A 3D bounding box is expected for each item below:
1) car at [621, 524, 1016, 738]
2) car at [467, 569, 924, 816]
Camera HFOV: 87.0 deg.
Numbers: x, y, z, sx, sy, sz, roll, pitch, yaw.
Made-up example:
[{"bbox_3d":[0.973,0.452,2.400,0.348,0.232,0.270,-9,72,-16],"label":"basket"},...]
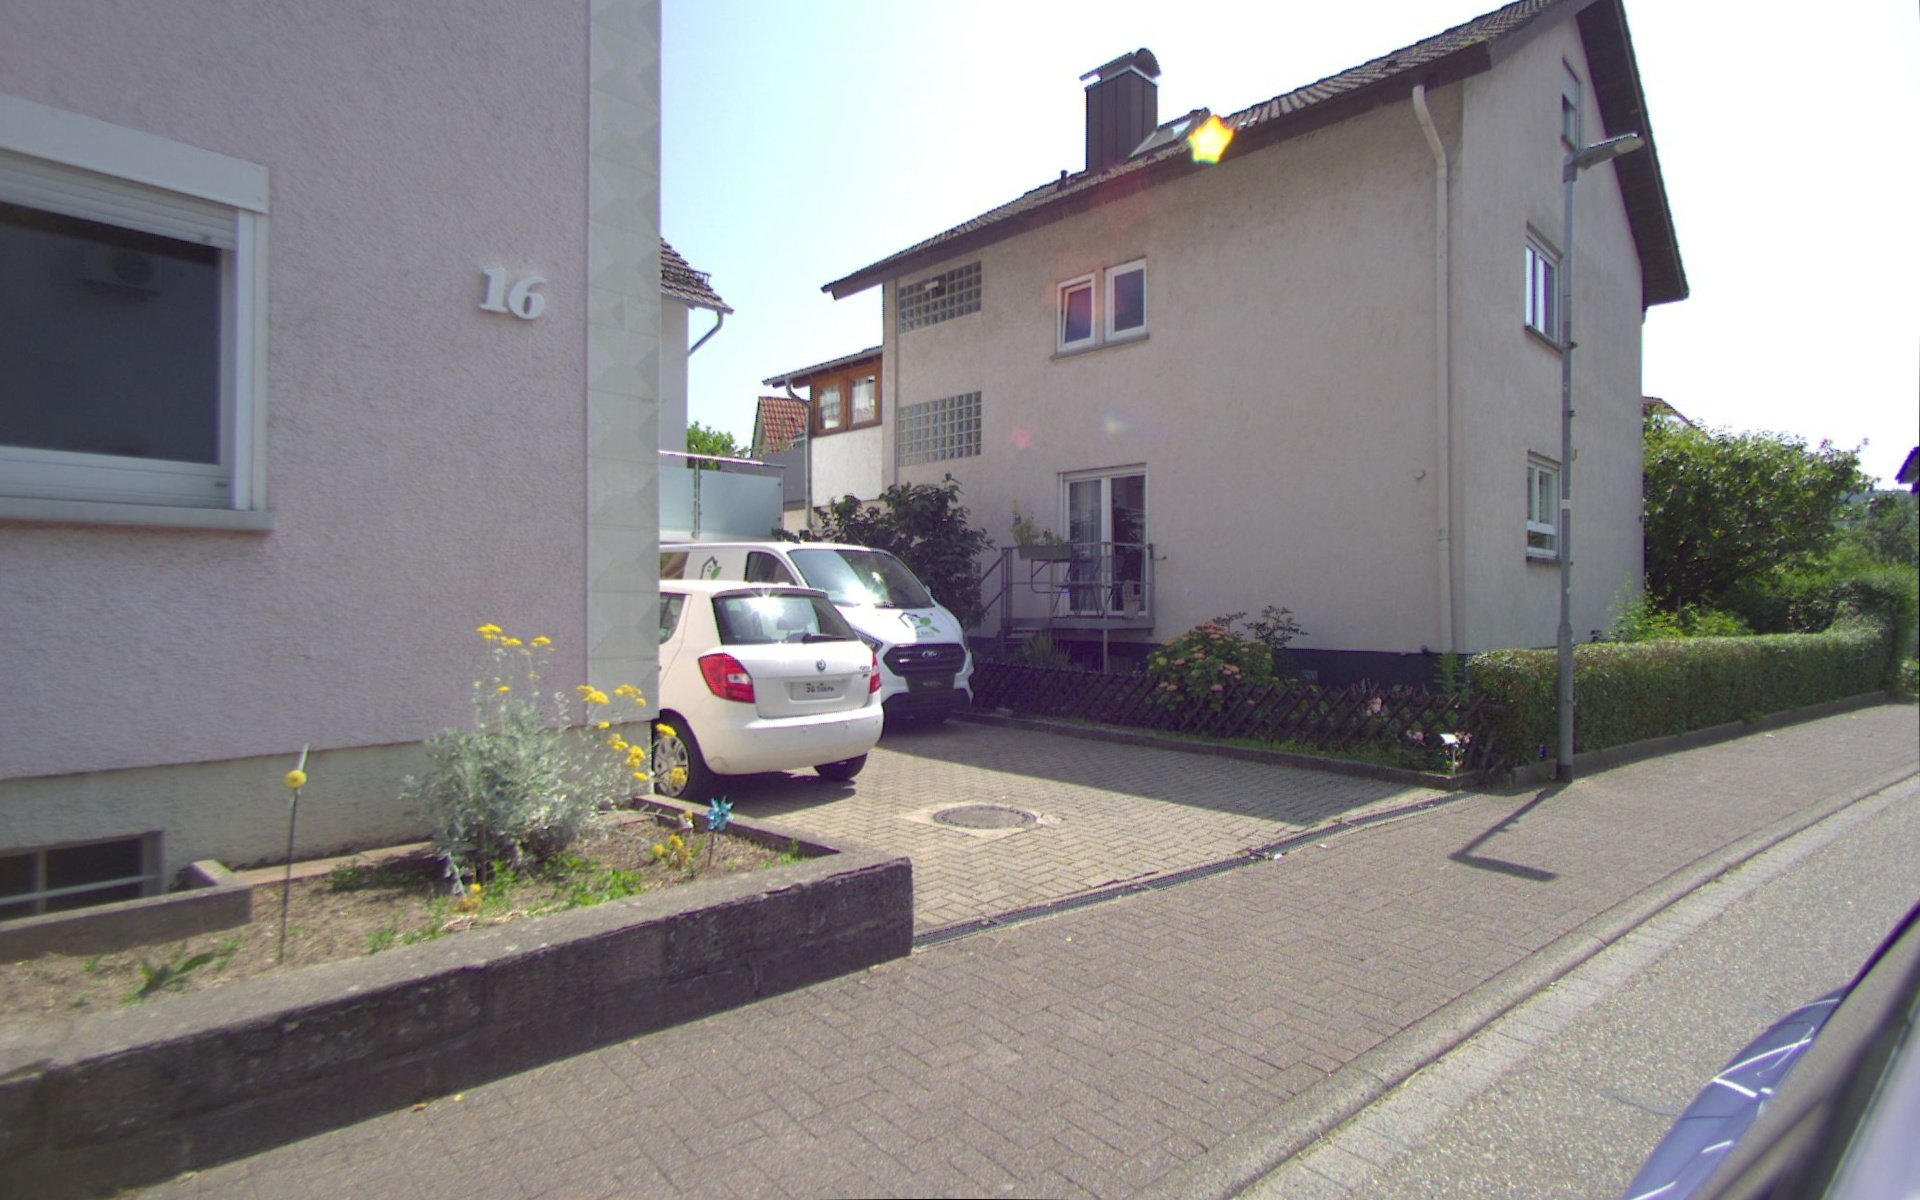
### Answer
[{"bbox_3d":[-1.849,0.251,11.677,2.021,1.937,4.985,0,0,-43],"label":"car"},{"bbox_3d":[-2.207,0.525,7.929,3.744,1.479,1.656,1,0,41],"label":"car"}]
